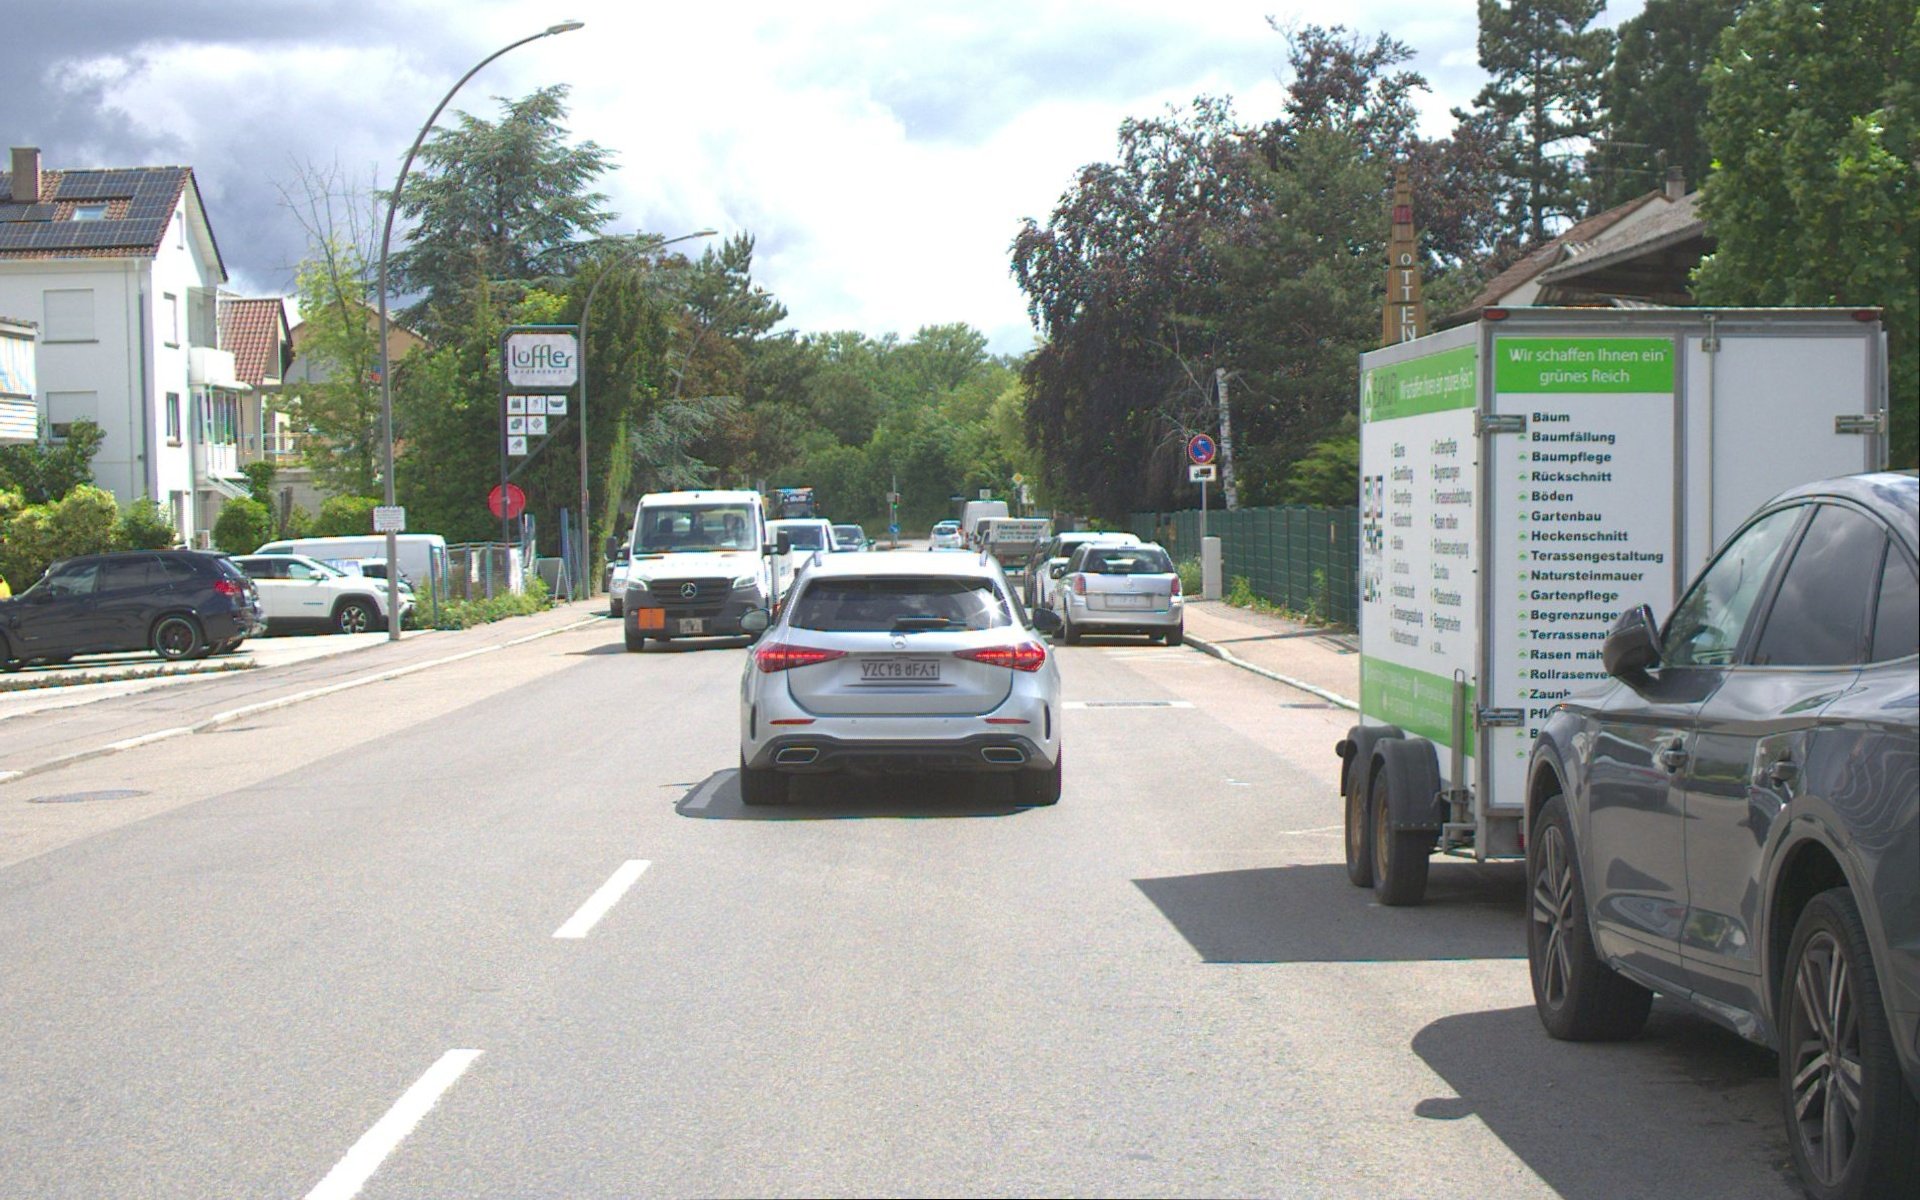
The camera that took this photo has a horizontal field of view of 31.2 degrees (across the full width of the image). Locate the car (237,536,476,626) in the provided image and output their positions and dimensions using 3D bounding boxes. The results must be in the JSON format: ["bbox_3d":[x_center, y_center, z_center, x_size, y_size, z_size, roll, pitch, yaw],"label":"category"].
[{"bbox_3d":[-11.630,-0.359,66.465,4.279,1.561,1.991,-1,-2,-1],"label":"car"}]

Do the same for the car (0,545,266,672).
[{"bbox_3d":[-13.196,0.143,52.801,4.626,1.627,2.198,-4,2,-4],"label":"car"}]

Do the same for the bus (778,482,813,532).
[{"bbox_3d":[-11.222,-6.337,234.092,1.993,3.352,6.984,1,2,-6],"label":"bus"}]

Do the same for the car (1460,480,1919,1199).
[{"bbox_3d":[2.660,0.477,8.628,1.941,1.566,4.446,-2,1,-3],"label":"car"}]

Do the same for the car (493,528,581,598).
[{"bbox_3d":[-10.708,-0.954,87.280,1.993,1.651,4.001,-2,2,-4],"label":"car"}]

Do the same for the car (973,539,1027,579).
[{"bbox_3d":[1.494,-1.560,129.726,1.784,1.479,4.317,0,1,-2],"label":"car"}]

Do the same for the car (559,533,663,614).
[{"bbox_3d":[-7.503,-0.598,74.319,1.791,1.598,4.364,-2,2,-1],"label":"car"}]

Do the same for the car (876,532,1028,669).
[{"bbox_3d":[-0.141,-0.039,42.286,1.755,1.553,4.001,-1,2,-1],"label":"car"}]

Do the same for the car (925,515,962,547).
[{"bbox_3d":[-0.831,-3.479,173.091,1.755,1.553,4.001,-1,2,-1],"label":"car"}]

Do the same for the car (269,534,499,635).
[{"bbox_3d":[-11.513,-0.300,68.935,4.279,1.830,1.991,-1,-2,-1],"label":"car"}]

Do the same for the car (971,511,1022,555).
[{"bbox_3d":[1.430,-2.604,134.751,1.784,1.709,4.317,0,1,-2],"label":"car"}]

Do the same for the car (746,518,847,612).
[{"bbox_3d":[-3.471,-0.785,73.776,1.993,1.882,5.117,-2,2,-1],"label":"car"}]

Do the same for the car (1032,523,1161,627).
[{"bbox_3d":[2.194,-0.440,56.327,1.791,1.546,4.574,-2,2,-1],"label":"car"}]

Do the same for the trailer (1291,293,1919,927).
[{"bbox_3d":[2.718,-0.011,14.890,1.941,2.286,4.446,-2,1,-2],"label":"trailer"}]

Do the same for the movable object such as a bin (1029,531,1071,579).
[{"bbox_3d":[2.462,-1.235,94.183,1.084,1.266,1.380,1,1,0],"label":"movable object such as a bin"}]

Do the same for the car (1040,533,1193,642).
[{"bbox_3d":[2.261,-0.219,50.587,1.791,1.445,4.364,-2,2,-3],"label":"car"}]

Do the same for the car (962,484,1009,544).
[{"bbox_3d":[1.083,-3.656,147.080,1.784,2.510,4.317,0,1,-2],"label":"car"}]

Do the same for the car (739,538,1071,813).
[{"bbox_3d":[-0.384,0.376,20.622,1.784,1.479,4.317,0,1,-2],"label":"car"}]

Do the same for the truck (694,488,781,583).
[{"bbox_3d":[-6.930,-2.048,107.852,2.075,2.804,7.078,-2,2,1],"label":"truck"}]

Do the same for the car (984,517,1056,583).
[{"bbox_3d":[1.888,-1.613,109.563,2.144,1.977,5.261,-2,1,0],"label":"car"}]

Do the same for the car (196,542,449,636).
[{"bbox_3d":[-11.772,-0.193,63.663,4.279,1.561,1.991,-2,-2,0],"label":"car"}]

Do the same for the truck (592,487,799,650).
[{"bbox_3d":[-3.800,-0.517,50.576,2.319,2.171,6.449,-2,1,1],"label":"truck"}]

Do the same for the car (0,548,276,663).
[{"bbox_3d":[-13.418,0.086,55.282,4.460,1.500,1.826,-4,2,-4],"label":"car"}]
